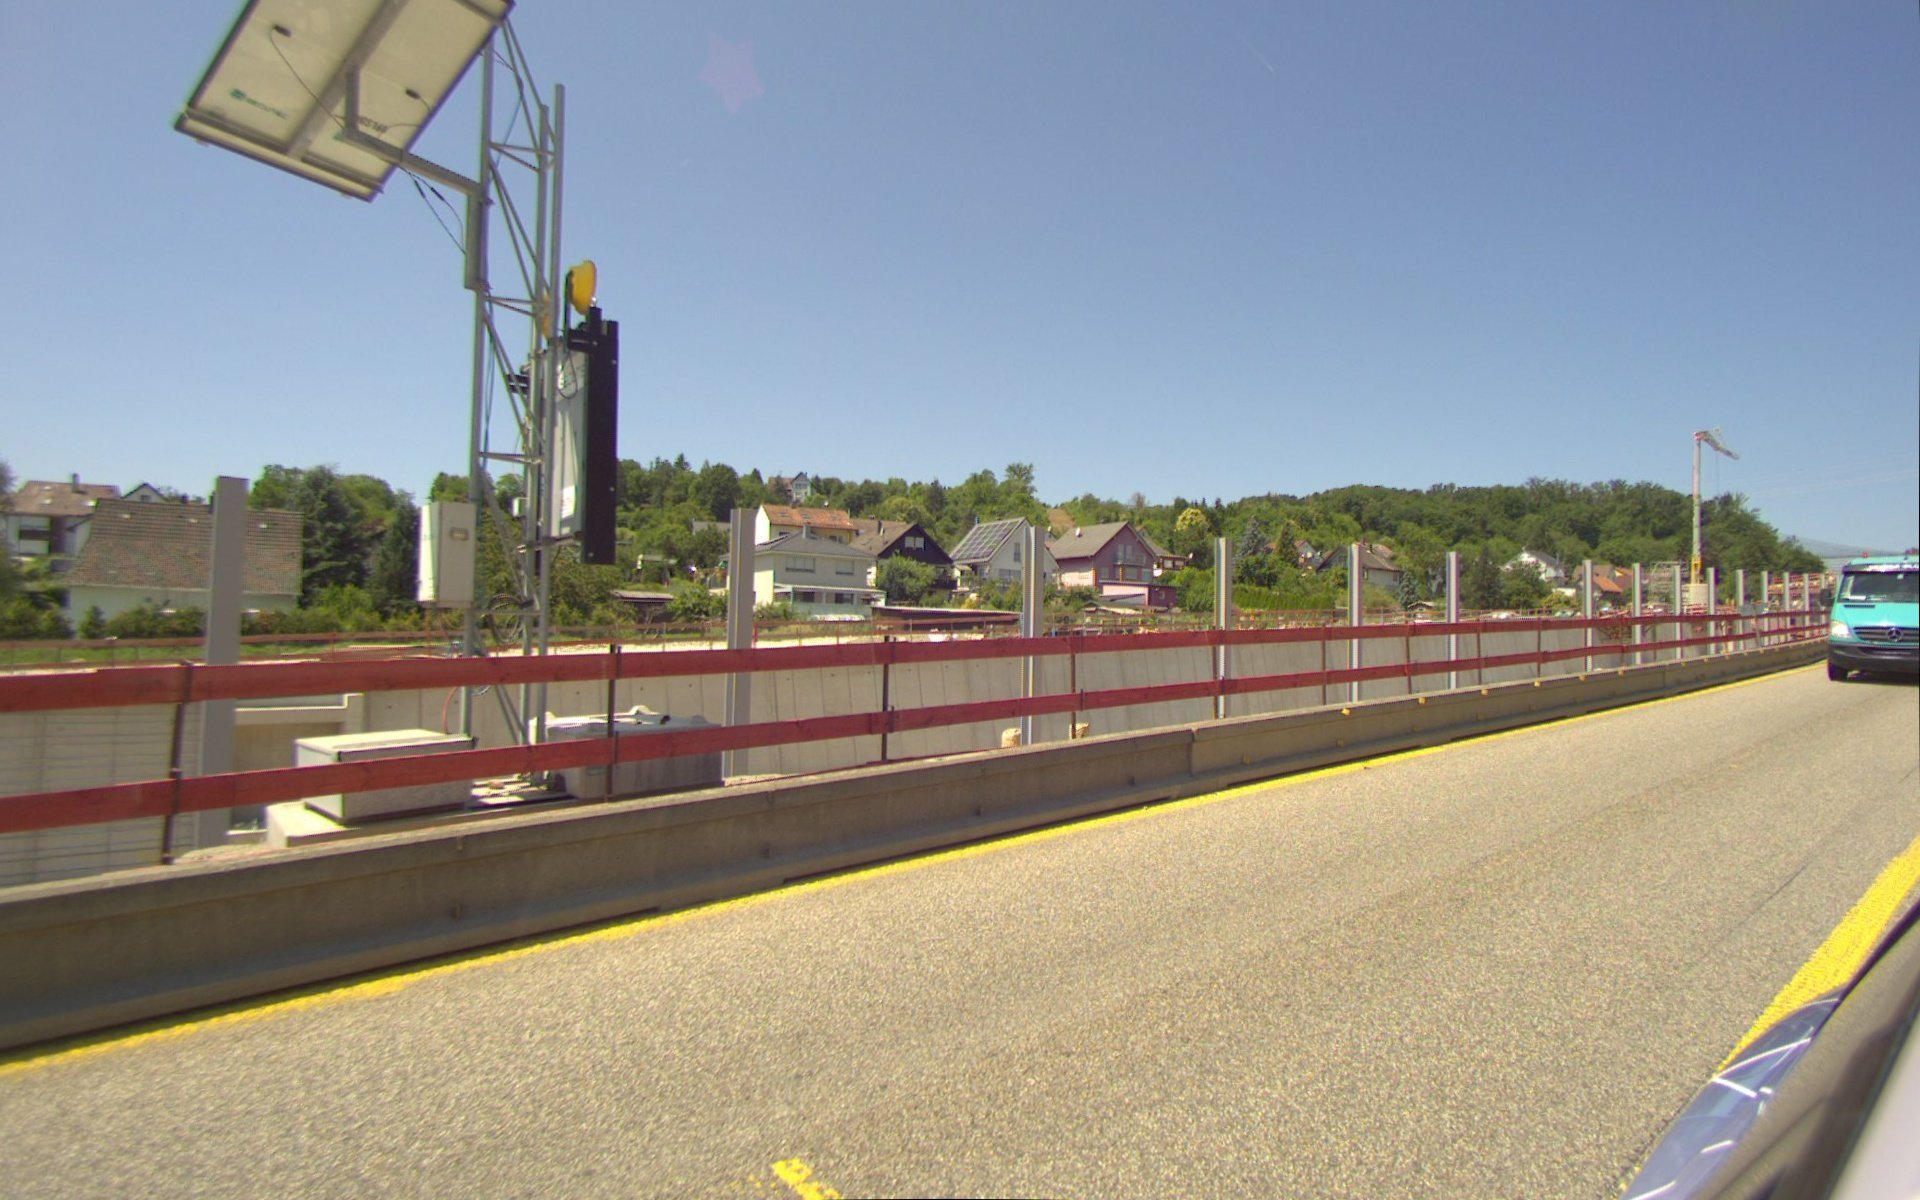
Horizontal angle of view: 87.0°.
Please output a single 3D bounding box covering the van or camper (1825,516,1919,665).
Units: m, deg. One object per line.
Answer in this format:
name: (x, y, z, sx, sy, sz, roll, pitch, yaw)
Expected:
van or camper: (18.885, -0.144, 19.658, 7.537, 2.504, 2.096, 0, 0, -41)
